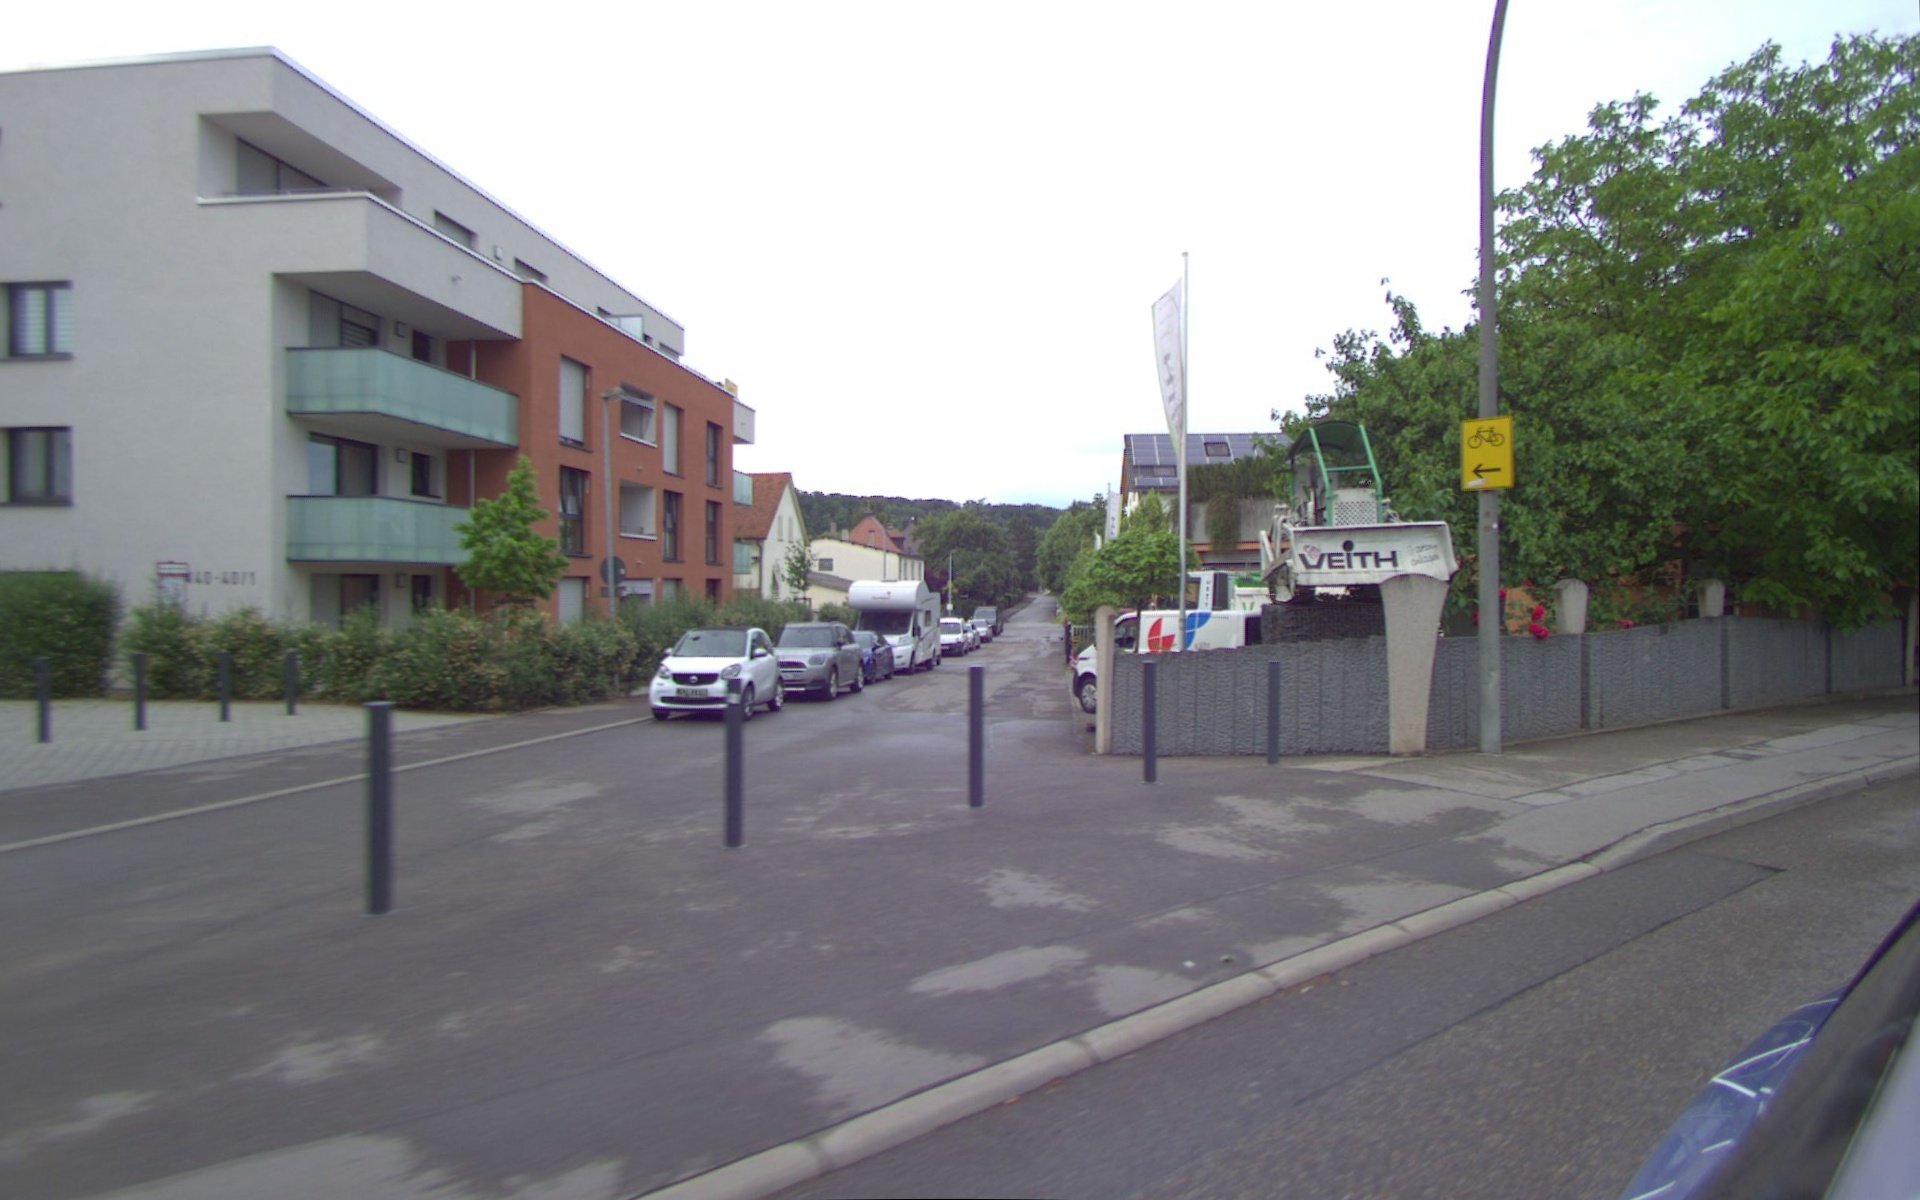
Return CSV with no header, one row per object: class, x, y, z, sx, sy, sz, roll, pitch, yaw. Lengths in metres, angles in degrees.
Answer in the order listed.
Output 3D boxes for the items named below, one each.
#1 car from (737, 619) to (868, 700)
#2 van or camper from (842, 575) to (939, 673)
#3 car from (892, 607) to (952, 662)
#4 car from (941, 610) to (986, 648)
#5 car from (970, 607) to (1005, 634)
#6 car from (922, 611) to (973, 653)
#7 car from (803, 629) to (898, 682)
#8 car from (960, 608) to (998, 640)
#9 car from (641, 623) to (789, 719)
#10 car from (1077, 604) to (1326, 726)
car,-3.358,1.232,22.371,1.821,1.562,4.119,0,0,7
van or camper,-2.231,0.789,34.507,2.286,3.033,5.938,0,-1,6
car,-1.451,1.318,39.957,1.964,2.039,3.995,0,0,4
car,0.216,1.534,54.947,1.882,1.926,4.186,0,0,8
car,2.040,1.464,73.850,1.884,1.926,4.182,0,0,11
car,-0.572,1.495,49.397,1.882,1.926,4.186,0,0,8
car,-2.945,1.480,28.122,1.749,1.270,4.119,0,0,7
car,1.249,1.496,64.725,1.882,1.926,4.186,0,0,8
car,-4.183,1.176,17.648,1.698,1.491,2.738,0,-1,6
car,4.132,1.035,17.944,1.960,1.894,4.139,1,-1,-32
